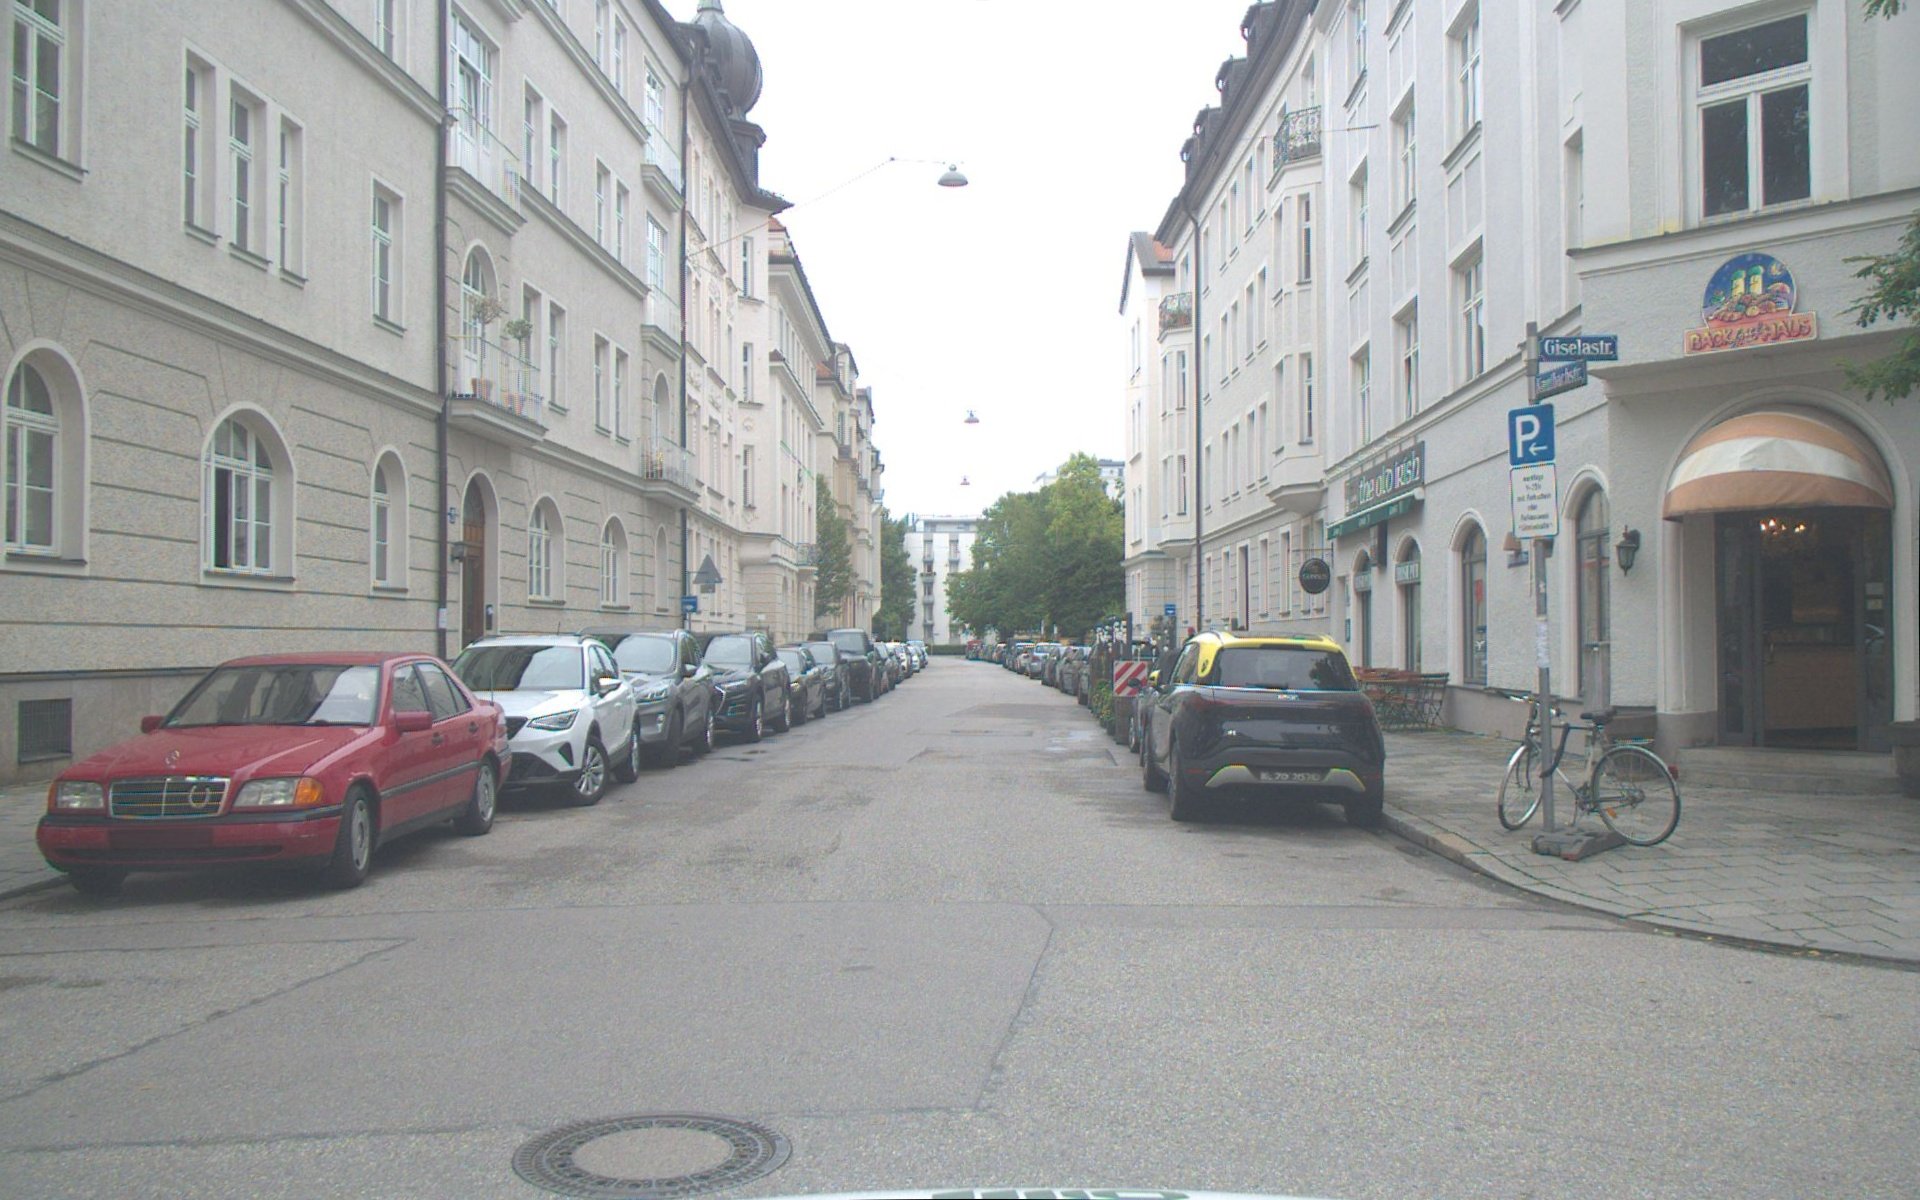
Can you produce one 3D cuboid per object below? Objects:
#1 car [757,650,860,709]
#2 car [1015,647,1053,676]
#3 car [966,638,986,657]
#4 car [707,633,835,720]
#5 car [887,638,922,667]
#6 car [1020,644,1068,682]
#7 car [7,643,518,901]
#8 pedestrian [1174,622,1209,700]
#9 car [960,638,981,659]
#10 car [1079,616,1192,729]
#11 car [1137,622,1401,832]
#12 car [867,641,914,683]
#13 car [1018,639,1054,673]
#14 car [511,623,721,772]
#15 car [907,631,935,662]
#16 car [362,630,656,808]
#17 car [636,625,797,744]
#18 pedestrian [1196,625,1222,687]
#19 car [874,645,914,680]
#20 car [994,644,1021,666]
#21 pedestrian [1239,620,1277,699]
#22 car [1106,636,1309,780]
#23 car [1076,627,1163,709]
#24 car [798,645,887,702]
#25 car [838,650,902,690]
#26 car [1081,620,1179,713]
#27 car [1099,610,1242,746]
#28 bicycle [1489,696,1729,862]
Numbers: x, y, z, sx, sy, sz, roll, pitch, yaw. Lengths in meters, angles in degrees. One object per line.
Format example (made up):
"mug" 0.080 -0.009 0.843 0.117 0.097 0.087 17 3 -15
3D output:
"car" -3.422 1.783 38.053 1.867 1.244 4.001 0 -1 2
"car" 3.774 3.125 84.574 1.694 1.442 3.851 0 -1 -1
"car" 1.696 5.139 180.671 1.953 2.017 4.890 0 -1 -2
"car" -3.602 1.437 32.198 1.885 1.574 4.001 0 -1 2
"car" -3.107 2.926 93.248 1.953 1.602 3.998 0 -1 -1
"car" 3.732 2.785 73.851 1.868 1.604 3.999 0 -1 -1
"car" -4.420 1.004 11.270 1.695 1.402 4.226 0 -1 0
"pedestrian" 5.678 1.496 40.619 0.762 1.883 1.023 0 -1 2
"car" 1.048 4.939 169.053 1.953 2.017 4.890 0 -1 -2
"car" 3.302 1.344 31.761 1.782 1.957 4.183 2 -1 2
"car" 2.775 1.095 15.770 1.782 1.665 4.289 2 -1 2
"car" -2.745 2.448 66.147 1.783 1.602 3.998 0 -1 -1
"car" 4.678 3.451 102.631 1.953 2.017 4.892 0 -1 0
"car" -4.258 1.164 21.085 1.953 1.705 4.010 0 -1 -2
"car" -2.619 3.096 111.108 1.808 2.049 3.999 0 -1 0
"car" -4.201 1.051 16.138 1.954 1.499 4.215 0 -1 -4
"car" -3.736 1.271 26.094 1.953 1.705 4.287 0 -1 -1
"pedestrian" 7.595 1.695 50.449 0.761 1.883 0.860 0 -1 9
"car" -2.838 2.699 72.102 1.699 1.445 3.998 0 -1 -2
"car" 3.698 4.278 129.556 1.910 1.681 3.999 -2 -2 -1
"pedestrian" 7.208 1.440 40.087 0.762 1.883 1.023 0 -1 2
"car" 2.955 1.252 20.696 1.935 1.524 4.637 2 -1 2
"car" 3.826 1.622 40.365 1.782 1.819 4.183 2 -1 2
"car" -2.978 1.865 42.731 1.867 1.352 4.001 0 -1 2
"car" -2.925 2.287 54.570 1.867 1.244 4.000 0 -1 0
"car" 3.643 1.406 36.131 1.952 1.889 4.346 0 -1 3
"car" 3.229 1.182 26.108 1.782 1.904 4.289 2 -1 2
"bicycle" 4.667 1.255 12.027 0.531 1.016 1.744 -3 0 -22
